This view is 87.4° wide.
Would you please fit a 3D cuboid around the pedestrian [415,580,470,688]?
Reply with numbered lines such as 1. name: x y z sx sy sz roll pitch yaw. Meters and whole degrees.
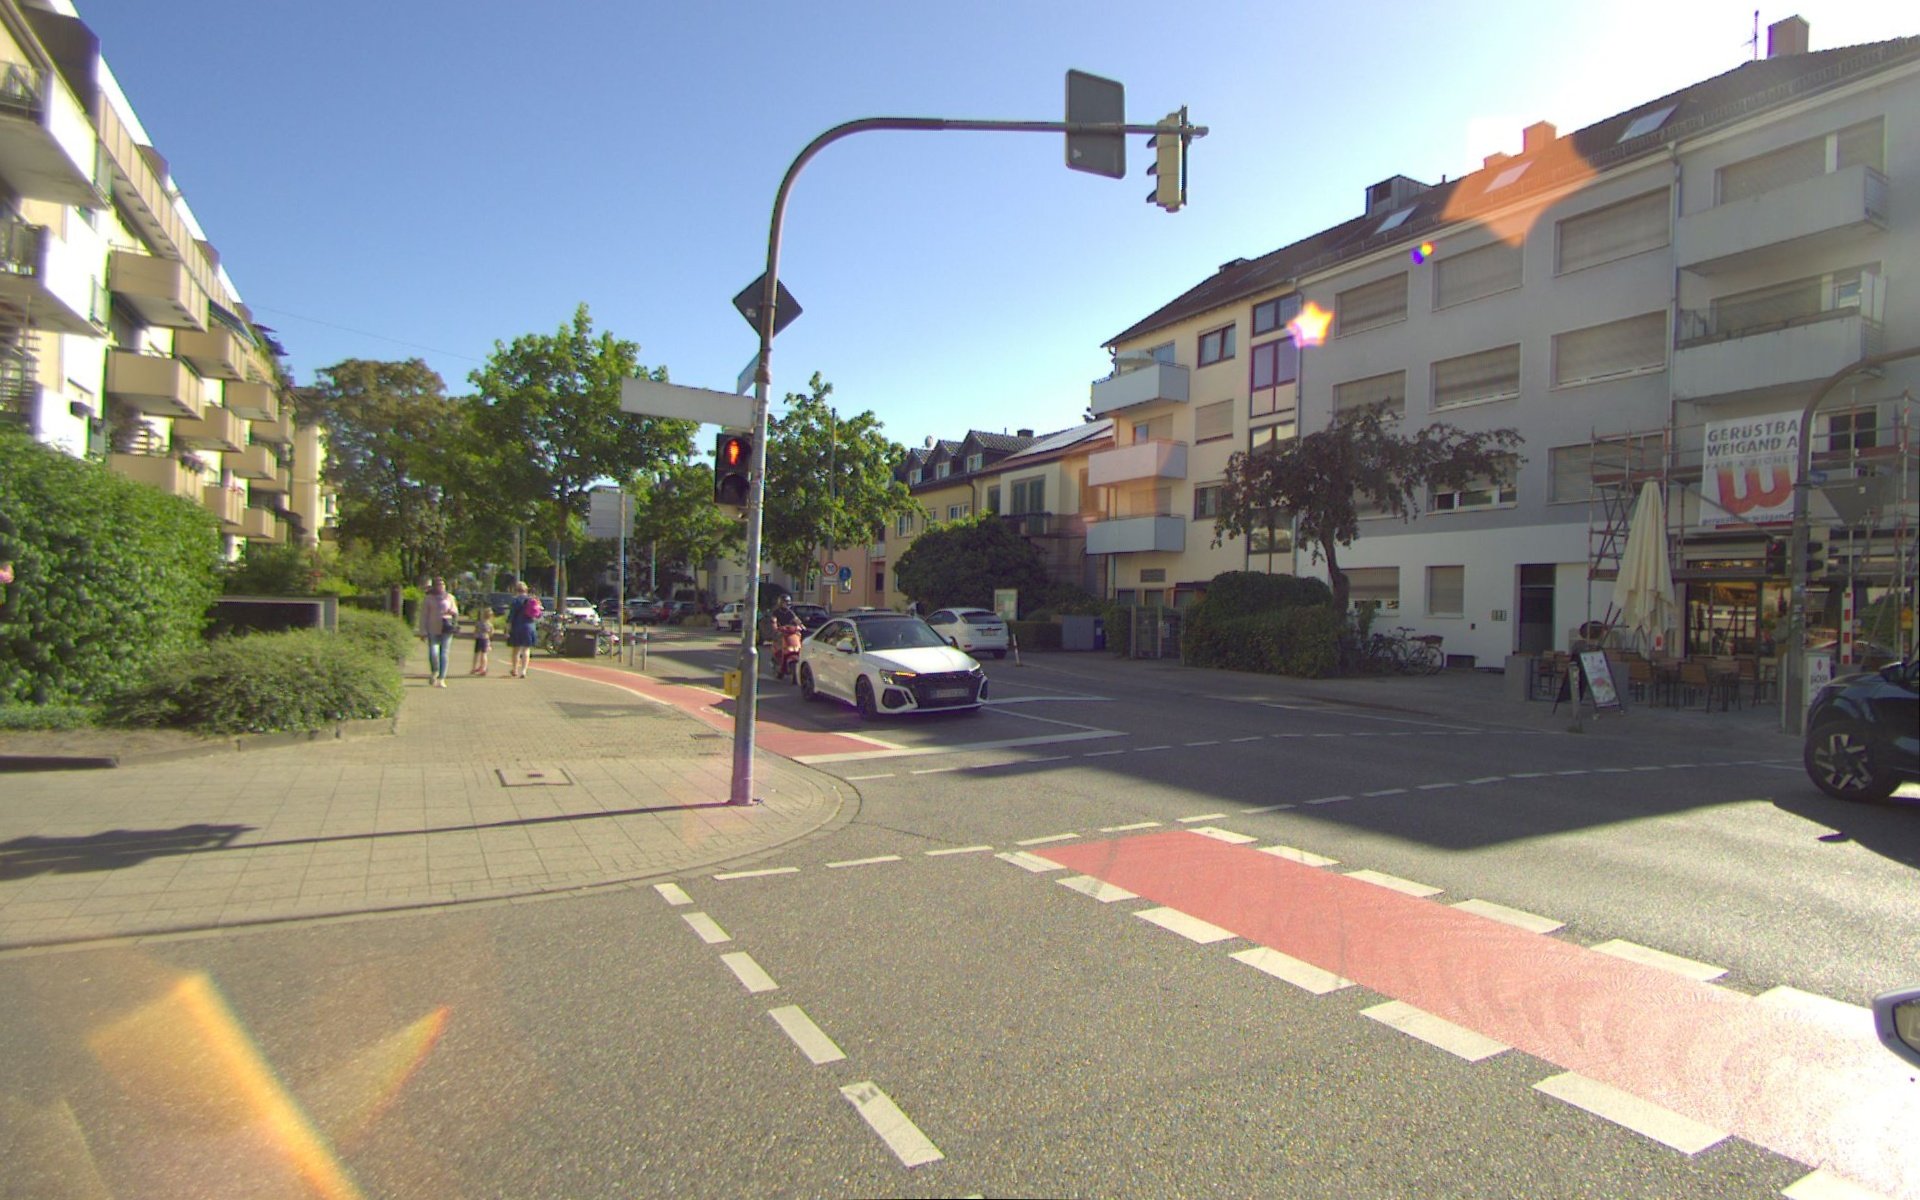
1. pedestrian: -7.996 0.512 15.512 0.688 1.617 0.642 1 0 -31

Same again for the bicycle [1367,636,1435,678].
1. bicycle: 10.863 1.394 24.779 0.506 0.952 1.583 1 -1 -26

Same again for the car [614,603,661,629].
1. car: -19.310 0.937 60.087 1.822 1.453 4.142 2 -1 -30

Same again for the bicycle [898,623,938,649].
1. bicycle: -1.581 1.323 37.266 0.548 0.844 2.114 2 0 -29

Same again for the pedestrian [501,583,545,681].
1. pedestrian: -7.844 0.562 18.027 0.568 1.705 0.960 1 0 -31

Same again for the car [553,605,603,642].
1. car: -18.115 1.073 47.541 1.792 1.579 4.219 -1 1 -27

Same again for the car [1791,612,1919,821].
1. car: 8.046 0.899 7.199 1.732 1.579 4.002 2 -1 16

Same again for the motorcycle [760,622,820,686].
1. motorcycle: -3.366 1.036 19.770 0.739 1.149 1.672 -1 0 -26

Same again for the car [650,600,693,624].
1. car: -18.973 0.753 65.987 1.893 1.449 3.969 -1 1 -29

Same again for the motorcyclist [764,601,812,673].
1. motorcyclist: -3.401 0.705 19.820 0.747 1.374 0.787 -1 0 -26

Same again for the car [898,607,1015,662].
1. car: -0.174 0.987 30.581 1.893 1.539 3.969 0 0 -29

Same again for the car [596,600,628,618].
1. car: -29.641 0.773 85.398 1.893 1.449 3.969 -1 1 -29

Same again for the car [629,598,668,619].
1. car: -22.352 0.607 72.094 1.893 1.449 3.969 -1 1 -29

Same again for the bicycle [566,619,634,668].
1. bicycle: -9.282 1.122 25.933 1.549 1.177 0.447 1 14 -7

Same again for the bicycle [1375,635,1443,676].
1. bicycle: 11.329 1.386 25.388 0.506 0.952 1.583 1 -1 -26

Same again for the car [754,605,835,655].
1. car: -5.678 0.999 34.127 1.576 1.586 4.061 2 -2 -27

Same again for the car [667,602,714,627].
1. car: -16.632 0.850 61.967 1.893 1.449 3.969 -1 1 -29

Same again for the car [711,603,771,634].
1. car: -11.173 0.918 51.025 1.893 1.449 3.969 -1 1 -29

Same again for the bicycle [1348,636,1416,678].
1. bicycle: 10.211 1.365 24.358 0.506 0.952 1.583 1 -1 -26

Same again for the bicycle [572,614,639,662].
1. bicycle: -9.322 1.000 26.430 1.549 1.177 0.447 1 14 -7

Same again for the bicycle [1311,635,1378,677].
1. bicycle: 9.367 1.352 24.520 0.506 0.952 1.583 1 -1 -26

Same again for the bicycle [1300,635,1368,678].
1. bicycle: 8.846 1.330 23.834 0.506 0.952 1.583 1 -1 -26

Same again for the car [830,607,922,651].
1. car: -3.143 1.005 36.762 1.893 1.449 3.969 -1 1 -29

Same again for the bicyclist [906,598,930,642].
1. bicyclist: -1.573 0.734 37.264 0.548 1.569 0.808 2 0 -30

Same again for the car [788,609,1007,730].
1. car: -1.135 0.951 15.728 1.909 1.455 4.238 -2 2 -27

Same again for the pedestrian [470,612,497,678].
1. pedestrian: -8.632 0.814 18.179 0.382 1.161 0.527 1 0 -30
